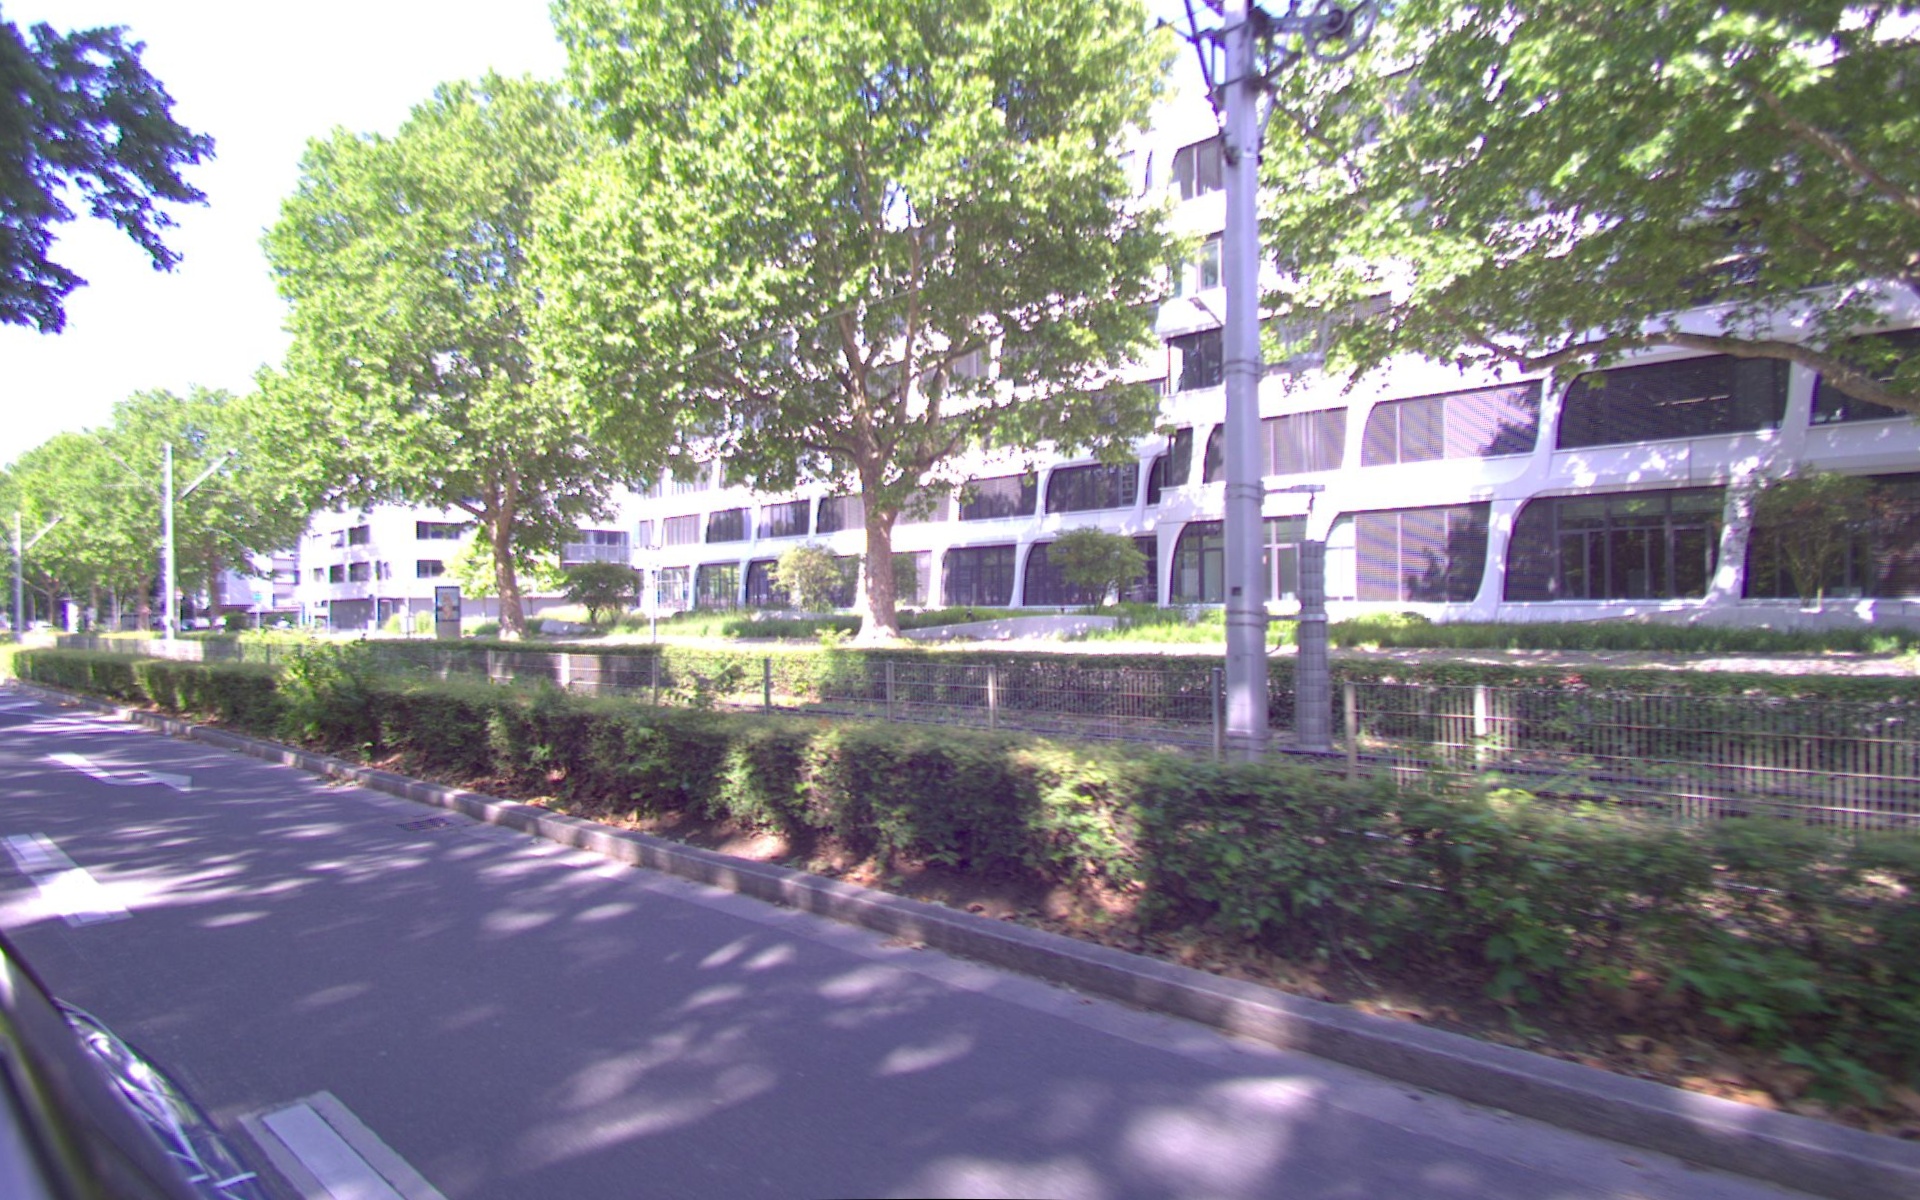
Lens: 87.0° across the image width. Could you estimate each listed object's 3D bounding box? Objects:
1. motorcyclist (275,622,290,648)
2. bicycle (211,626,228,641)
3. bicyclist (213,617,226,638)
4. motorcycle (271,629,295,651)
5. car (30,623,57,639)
[{"bbox_3d":[-38.237,1.964,57.086,0.533,1.468,0.575,-2,-1,41],"label":"motorcyclist"},{"bbox_3d":[-56.803,2.540,77.636,2.030,1.132,0.657,-2,0,42],"label":"bicycle"},{"bbox_3d":[-56.762,2.125,77.586,0.641,1.546,0.647,-2,-1,42],"label":"bicyclist"},{"bbox_3d":[-38.155,2.265,57.055,1.999,1.183,0.626,-2,-1,42],"label":"motorcycle"},{"bbox_3d":[-96.882,3.254,106.960,4.017,1.581,1.738,-2,0,42],"label":"car"}]
